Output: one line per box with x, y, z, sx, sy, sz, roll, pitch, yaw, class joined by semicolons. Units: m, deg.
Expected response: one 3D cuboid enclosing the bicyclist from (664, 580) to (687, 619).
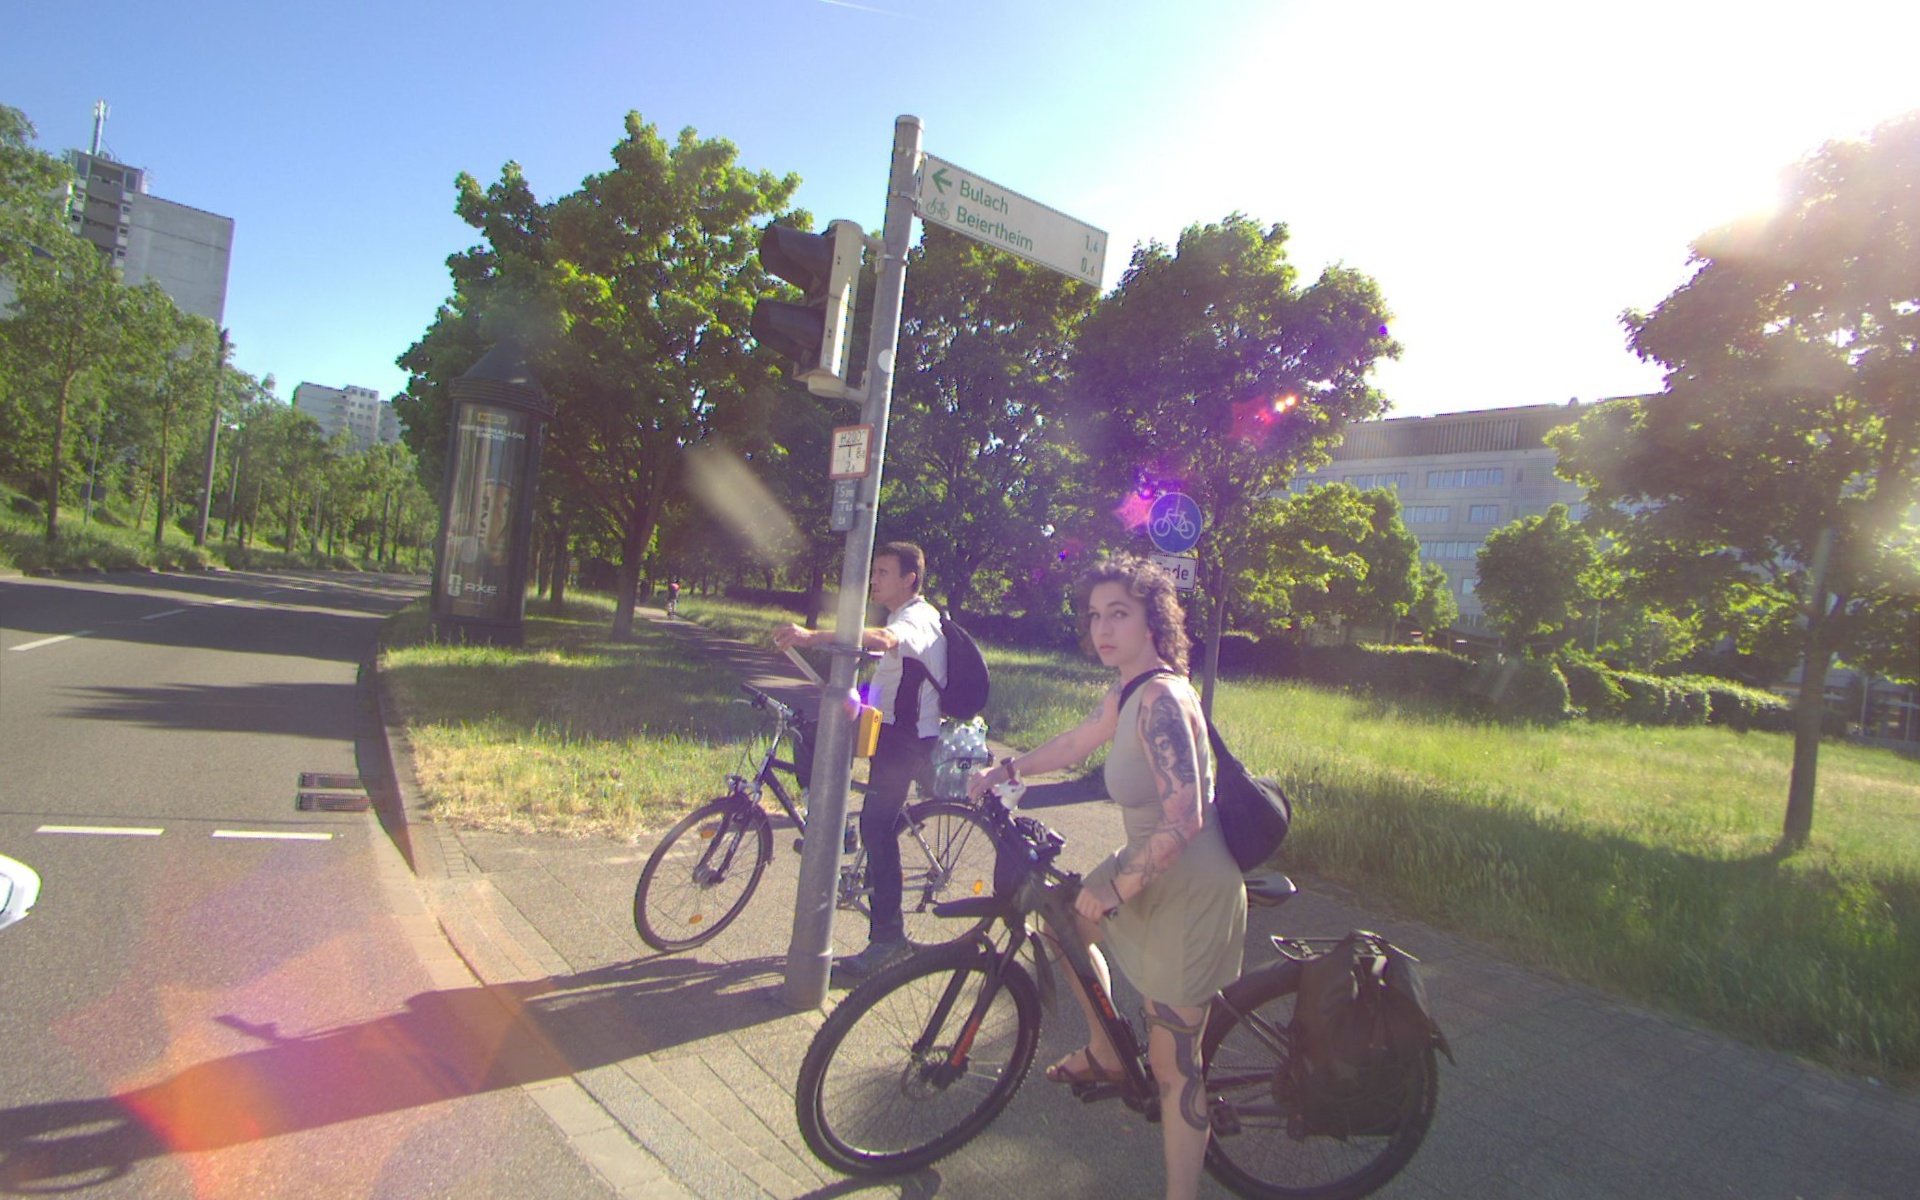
-12.336;-0.033;43.587;0.664;1.605;1.000;7;0;-21;bicyclist

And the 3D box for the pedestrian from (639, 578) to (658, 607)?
-19.876;-0.498;64.188;0.733;1.747;0.881;7;0;-34;pedestrian

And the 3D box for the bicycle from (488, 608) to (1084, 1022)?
-0.689;0.863;4.392;2.221;1.364;0.793;7;0;0;bicycle

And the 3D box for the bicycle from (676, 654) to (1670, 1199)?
0.454;0.964;2.591;2.040;1.364;0.793;7;0;0;bicycle

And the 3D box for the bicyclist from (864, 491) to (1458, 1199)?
0.423;0.760;2.597;1.114;1.846;0.793;7;0;0;bicyclist

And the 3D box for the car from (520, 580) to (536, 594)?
-54.902;-1.640;127.939;1.670;1.595;3.856;6;-3;-22;car

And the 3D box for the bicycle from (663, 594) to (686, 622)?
-12.384;0.333;43.607;0.664;1.068;1.803;7;-1;-21;bicycle

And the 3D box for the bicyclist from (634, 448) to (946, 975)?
-0.681;0.453;4.396;0.992;1.983;0.793;7;0;0;bicyclist

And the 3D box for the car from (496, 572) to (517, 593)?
-42.498;-1.629;94.322;1.671;1.595;3.854;7;-3;-23;car
